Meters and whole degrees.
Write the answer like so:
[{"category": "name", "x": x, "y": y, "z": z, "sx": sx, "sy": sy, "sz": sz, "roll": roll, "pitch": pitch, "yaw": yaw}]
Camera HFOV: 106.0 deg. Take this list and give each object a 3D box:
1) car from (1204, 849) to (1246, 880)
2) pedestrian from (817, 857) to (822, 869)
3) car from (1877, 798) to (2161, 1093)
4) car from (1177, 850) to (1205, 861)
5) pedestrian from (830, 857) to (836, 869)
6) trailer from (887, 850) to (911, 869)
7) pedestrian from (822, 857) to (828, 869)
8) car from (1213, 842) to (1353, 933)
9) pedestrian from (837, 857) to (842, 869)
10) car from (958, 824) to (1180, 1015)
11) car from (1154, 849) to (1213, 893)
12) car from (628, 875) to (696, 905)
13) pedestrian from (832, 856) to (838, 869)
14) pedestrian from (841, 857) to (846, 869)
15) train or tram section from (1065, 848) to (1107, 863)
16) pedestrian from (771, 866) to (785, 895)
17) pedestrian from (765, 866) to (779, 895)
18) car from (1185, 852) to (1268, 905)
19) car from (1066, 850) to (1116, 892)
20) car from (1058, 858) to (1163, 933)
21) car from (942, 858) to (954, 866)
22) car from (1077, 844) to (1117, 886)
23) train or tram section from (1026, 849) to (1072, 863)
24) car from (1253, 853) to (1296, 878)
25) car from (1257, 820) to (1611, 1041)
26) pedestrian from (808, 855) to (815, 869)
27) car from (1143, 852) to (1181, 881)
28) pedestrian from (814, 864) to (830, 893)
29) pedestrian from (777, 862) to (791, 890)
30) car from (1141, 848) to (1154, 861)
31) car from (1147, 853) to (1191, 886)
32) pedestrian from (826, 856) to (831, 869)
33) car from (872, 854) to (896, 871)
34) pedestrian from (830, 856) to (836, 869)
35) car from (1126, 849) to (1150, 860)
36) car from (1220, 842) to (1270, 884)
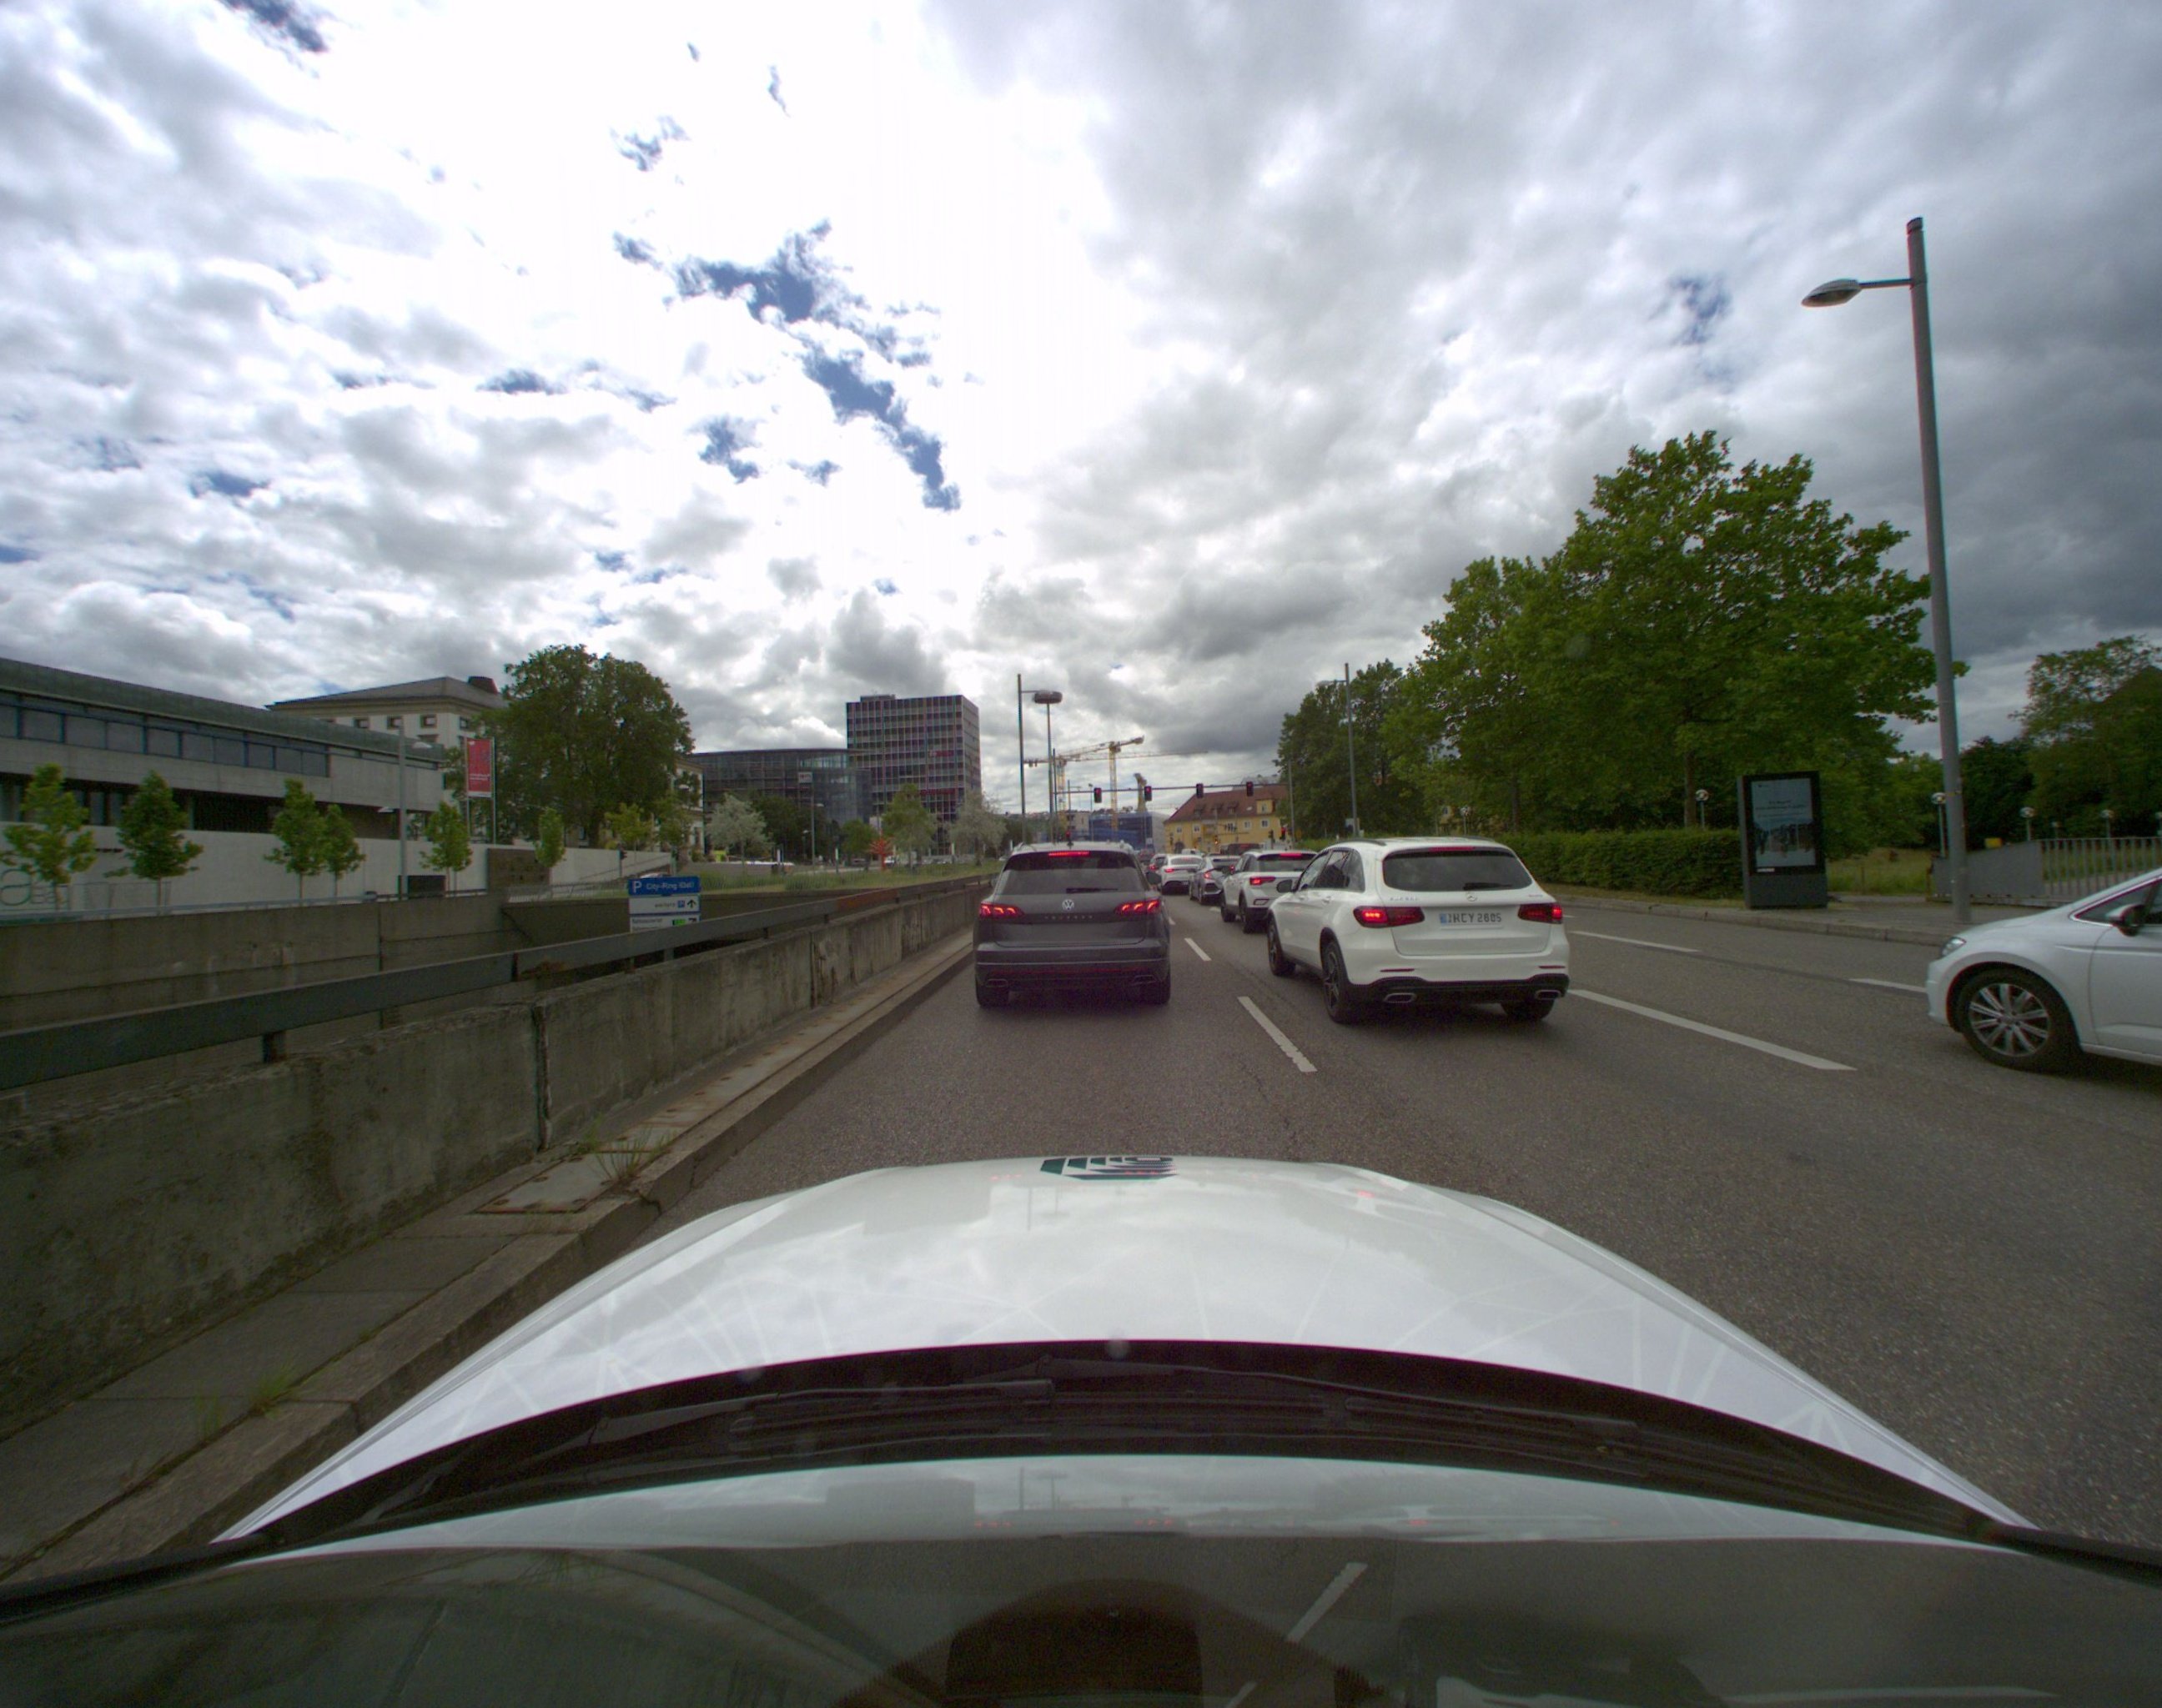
[{"category": "car", "x": 8.273, "y": 0.588, "z": 47.212, "sx": 1.903, "sy": 1.697, "sz": 4.014, "roll": 0, "pitch": -1, "yaw": 3}, {"category": "pedestrian", "x": -42.186, "y": 1.451, "z": 131.225, "sx": 0.740, "sy": 2.013, "sz": 0.788, "roll": -3, "pitch": 1, "yaw": -19}, {"category": "car", "x": 6.975, "y": 0.477, "z": 3.960, "sx": 1.987, "sy": 1.640, "sz": 4.304, "roll": -2, "pitch": -1, "yaw": 0}, {"category": "car", "x": 17.932, "y": 0.279, "z": 132.526, "sx": 4.060, "sy": 1.610, "sz": 1.841, "roll": -1, "pitch": -2, "yaw": 37}, {"category": "pedestrian", "x": -39.911, "y": 1.440, "z": 131.082, "sx": 0.740, "sy": 2.013, "sz": 0.788, "roll": -3, "pitch": 1, "yaw": -19}, {"category": "trailer", "x": -26.312, "y": 0.723, "z": 117.686, "sx": 2.030, "sy": 2.604, "sz": 5.511, "roll": 0, "pitch": 1, "yaw": 2}, {"category": "pedestrian", "x": -42.800, "y": 1.544, "z": 136.102, "sx": 0.735, "sy": 2.013, "sz": 0.793, "roll": -2, "pitch": 1, "yaw": 2}, {"category": "car", "x": 3.904, "y": 0.622, "z": 16.524, "sx": 1.918, "sy": 1.551, "sz": 4.493, "roll": -1, "pitch": -1, "yaw": 3}, {"category": "pedestrian", "x": -38.995, "y": 1.444, "z": 131.391, "sx": 0.740, "sy": 2.013, "sz": 0.788, "roll": -3, "pitch": 1, "yaw": -19}, {"category": "car", "x": -0.054, "y": 0.596, "z": 9.314, "sx": 1.944, "sy": 1.651, "sz": 4.001, "roll": -2, "pitch": 0, "yaw": 1}, {"category": "car", "x": 3.881, "y": 0.641, "z": 31.526, "sx": 1.918, "sy": 1.529, "sz": 4.493, "roll": -1, "pitch": -1, "yaw": 3}, {"category": "car", "x": -29.452, "y": 2.515, "z": 57.439, "sx": 2.166, "sy": 1.854, "sz": 4.738, "roll": -2, "pitch": 0, "yaw": 1}, {"category": "pedestrian", "x": -38.915, "y": 1.376, "z": 128.726, "sx": 0.740, "sy": 2.013, "sz": 0.788, "roll": -3, "pitch": 1, "yaw": -19}, {"category": "pedestrian", "x": -38.164, "y": 1.435, "z": 130.806, "sx": 0.740, "sy": 2.013, "sz": 1.108, "roll": -3, "pitch": 1, "yaw": -18}, {"category": "train or tram section", "x": 1.108, "y": 0.308, "z": 173.324, "sx": 8.835, "sy": 3.010, "sz": 2.613, "roll": -1, "pitch": -2, "yaw": 31}, {"category": "pedestrian", "x": -21.600, "y": 1.865, "z": 58.005, "sx": 0.794, "sy": 2.013, "sz": 0.829, "roll": -3, "pitch": 0, "yaw": -26}, {"category": "pedestrian", "x": -21.667, "y": 1.843, "z": 57.150, "sx": 0.794, "sy": 2.013, "sz": 0.829, "roll": -3, "pitch": 0, "yaw": -26}, {"category": "car", "x": 4.315, "y": 0.712, "z": 24.787, "sx": 1.918, "sy": 1.432, "sz": 4.493, "roll": -1, "pitch": -1, "yaw": 3}, {"category": "car", "x": 0.448, "y": 0.673, "z": 33.711, "sx": 1.944, "sy": 1.600, "sz": 3.932, "roll": 0, "pitch": 0, "yaw": 1}, {"category": "car", "x": 0.601, "y": 0.779, "z": 17.074, "sx": 1.944, "sy": 1.384, "sz": 3.932, "roll": 0, "pitch": 0, "yaw": 1}, {"category": "car", "x": -24.911, "y": 1.530, "z": 152.976, "sx": 1.727, "sy": 1.495, "sz": 3.594, "roll": 0, "pitch": -1, "yaw": 0}, {"category": "car", "x": 0.819, "y": 0.556, "z": 41.187, "sx": 1.944, "sy": 2.018, "sz": 3.932, "roll": 0, "pitch": 0, "yaw": 1}, {"category": "train or tram section", "x": -7.052, "y": 0.478, "z": 178.300, "sx": 10.295, "sy": 3.010, "sz": 2.613, "roll": -1, "pitch": -2, "yaw": 32}, {"category": "car", "x": 11.422, "y": 0.667, "z": 48.234, "sx": 1.751, "sy": 1.447, "sz": 3.633, "roll": 0, "pitch": -1, "yaw": 0}, {"category": "car", "x": 3.190, "y": 0.570, "z": 8.504, "sx": 1.918, "sy": 1.653, "sz": 4.493, "roll": -2, "pitch": 0, "yaw": 3}, {"category": "pedestrian", "x": -40.550, "y": 1.228, "z": 122.521, "sx": 0.737, "sy": 2.013, "sz": 1.113, "roll": -2, "pitch": 1, "yaw": -3}, {"category": "car", "x": 4.590, "y": 0.727, "z": 46.628, "sx": 1.918, "sy": 1.529, "sz": 4.050, "roll": -1, "pitch": -1, "yaw": 3}, {"category": "pedestrian", "x": -18.369, "y": 1.738, "z": 57.733, "sx": 0.857, "sy": 2.013, "sz": 0.629, "roll": -2, "pitch": 1, "yaw": 1}, {"category": "pedestrian", "x": -22.779, "y": 1.670, "z": 62.460, "sx": 0.729, "sy": 2.012, "sz": 0.628, "roll": -2, "pitch": 4, "yaw": -6}, {"category": "car", "x": 9.298, "y": 0.107, "z": 114.055, "sx": 1.612, "sy": 1.627, "sz": 4.002, "roll": 0, "pitch": -1, "yaw": 3}, {"category": "car", "x": 4.290, "y": 0.756, "z": 40.342, "sx": 1.918, "sy": 1.529, "sz": 4.050, "roll": -1, "pitch": -1, "yaw": 3}, {"category": "pedestrian", "x": -39.802, "y": 1.369, "z": 128.289, "sx": 0.740, "sy": 2.013, "sz": 1.108, "roll": -3, "pitch": 1, "yaw": -18}, {"category": "car", "x": -27.214, "y": 1.145, "z": 112.672, "sx": 1.986, "sy": 2.013, "sz": 4.695, "roll": -2, "pitch": 1, "yaw": 2}, {"category": "pedestrian", "x": -39.559, "y": 1.409, "z": 129.912, "sx": 0.740, "sy": 2.013, "sz": 0.788, "roll": -3, "pitch": 1, "yaw": -19}, {"category": "car", "x": 11.302, "y": 0.082, "z": 162.756, "sx": 4.402, "sy": 2.014, "sz": 2.013, "roll": -1, "pitch": -2, "yaw": 35}, {"category": "car", "x": 8.344, "y": 0.469, "z": 41.740, "sx": 1.903, "sy": 2.014, "sz": 4.014, "roll": 0, "pitch": -1, "yaw": 3}]
